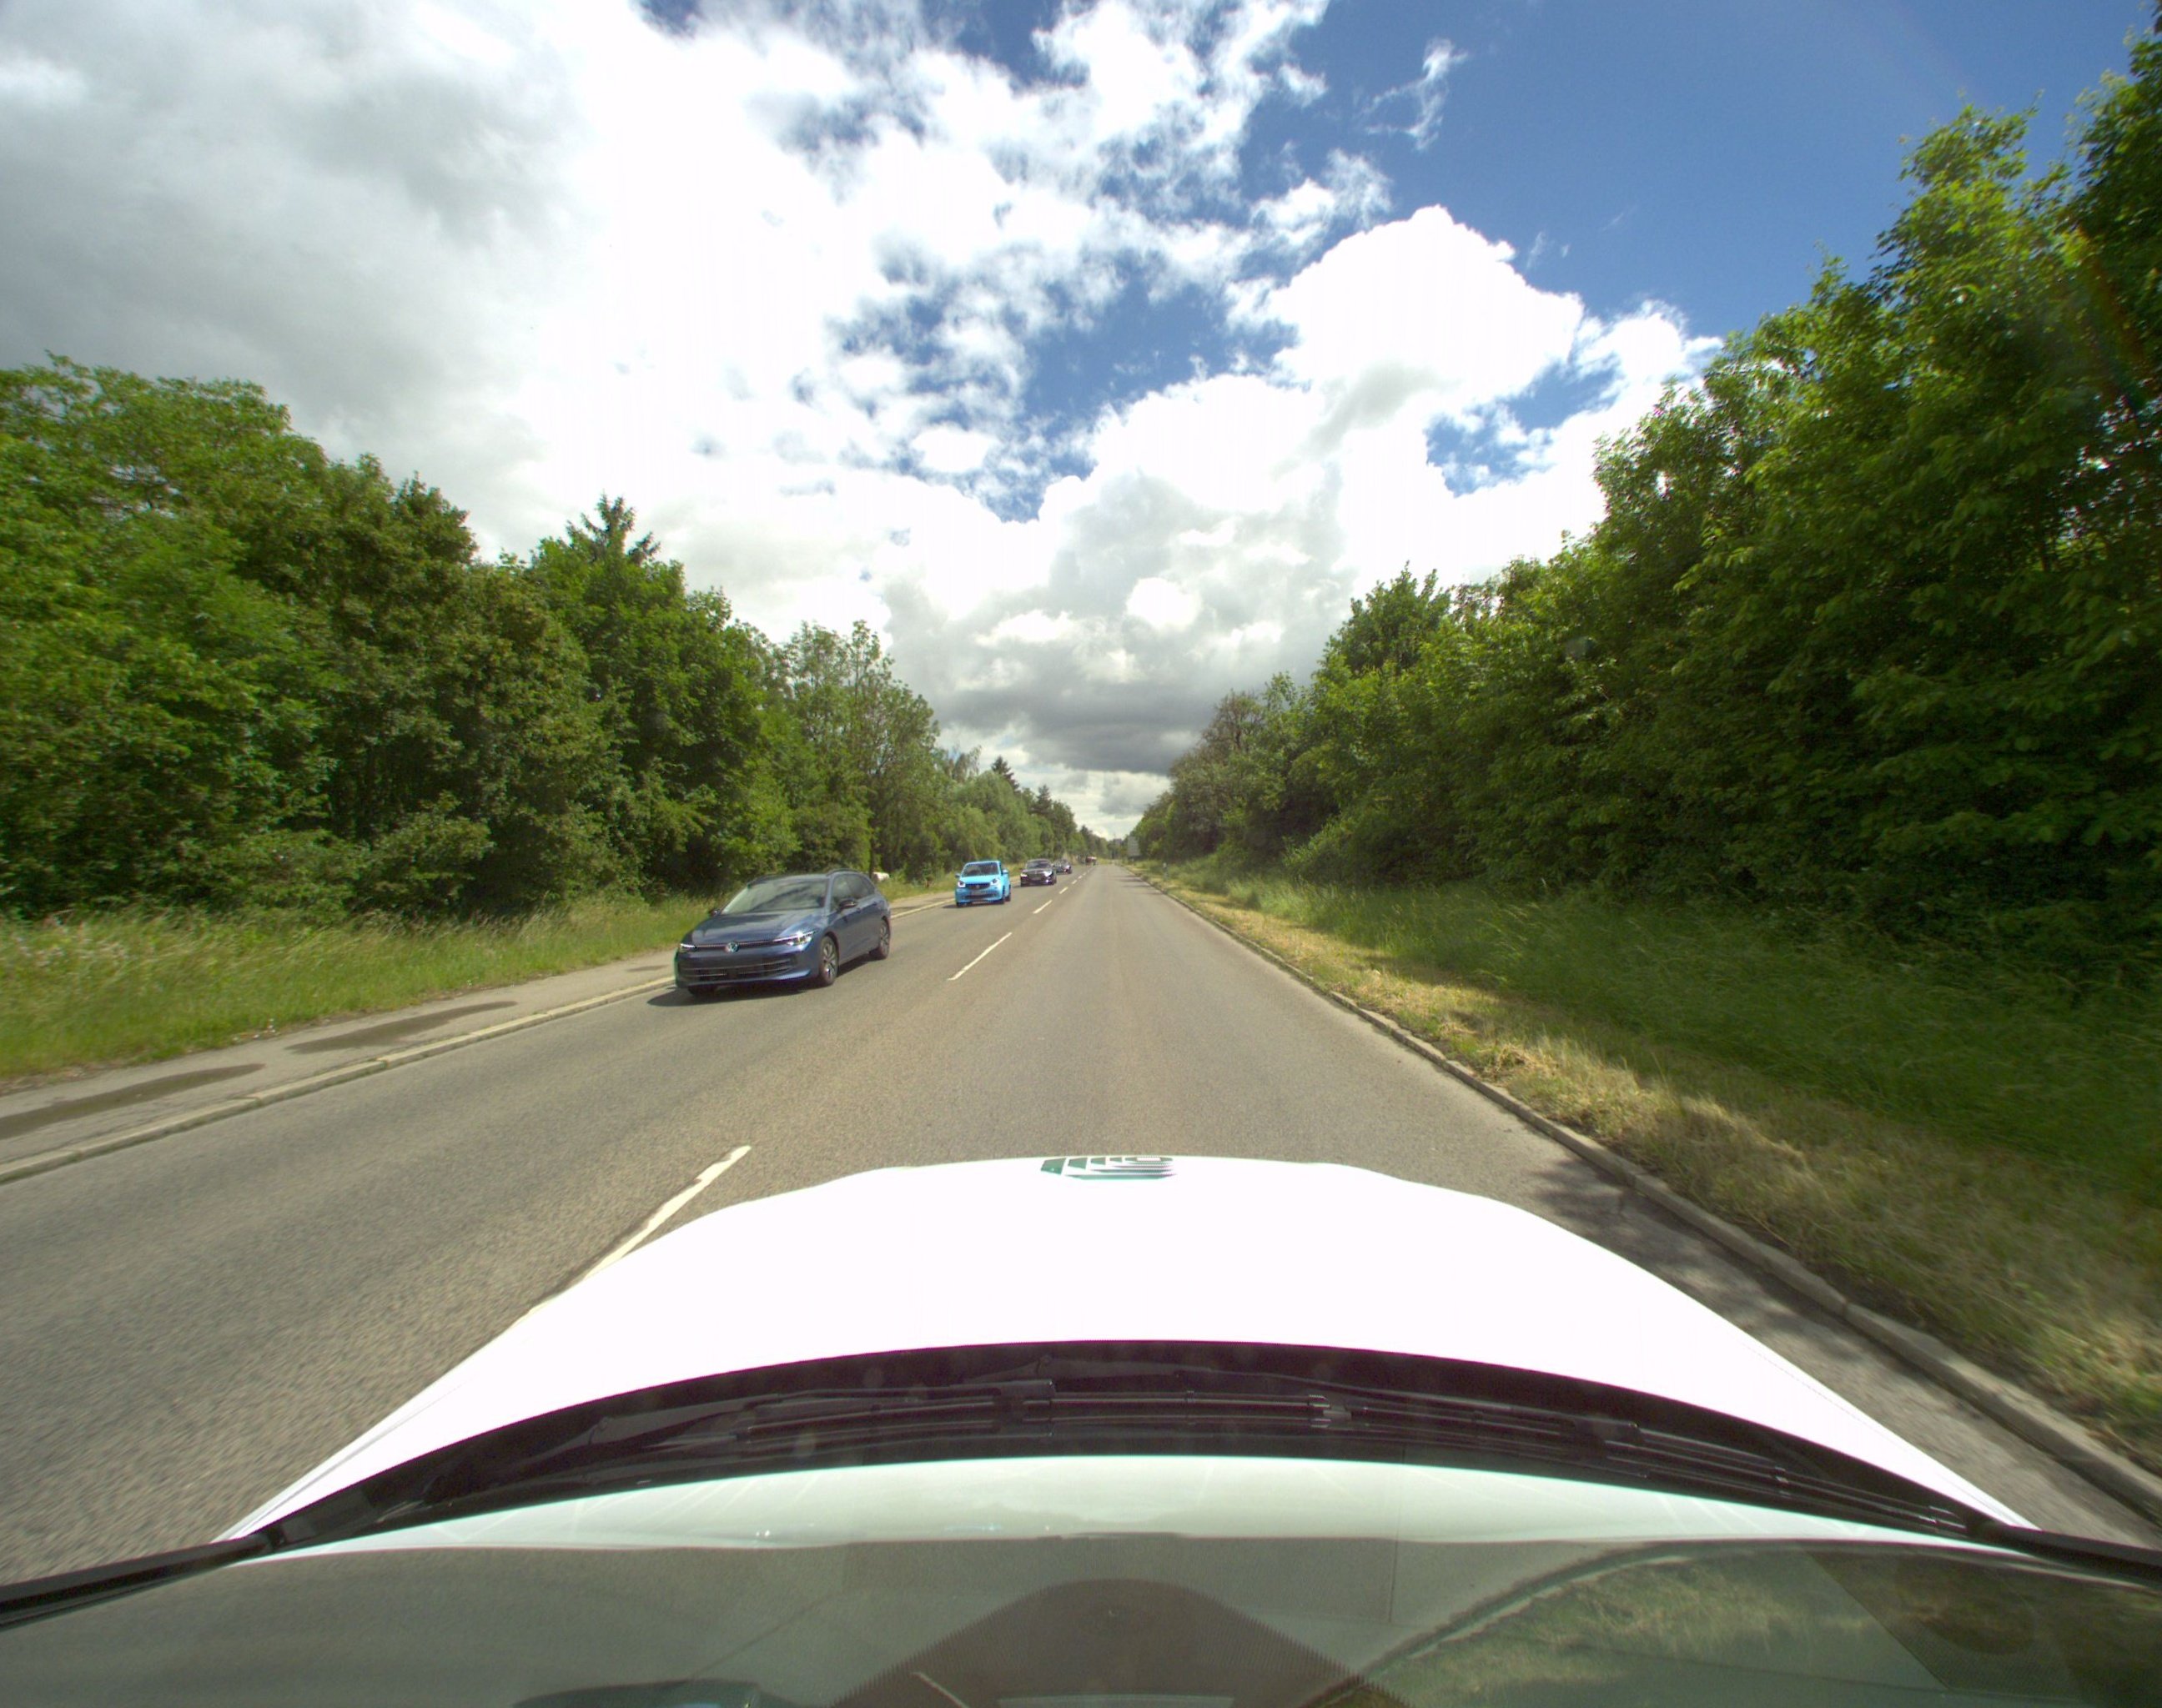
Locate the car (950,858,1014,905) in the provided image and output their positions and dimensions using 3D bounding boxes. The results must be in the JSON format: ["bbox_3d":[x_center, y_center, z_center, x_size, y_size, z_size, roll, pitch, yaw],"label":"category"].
[{"bbox_3d":[-3.459,0.948,28.875,1.778,1.446,2.966,-4,0,0],"label":"car"}]

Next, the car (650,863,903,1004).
[{"bbox_3d":[-3.985,0.936,11.582,1.778,1.446,4.453,-4,0,1],"label":"car"}]

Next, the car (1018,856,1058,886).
[{"bbox_3d":[-2.413,0.959,47.027,1.878,1.491,4.718,-4,0,1],"label":"car"}]

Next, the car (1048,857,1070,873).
[{"bbox_3d":[-2.022,0.996,76.539,1.778,1.334,4.623,-4,0,1],"label":"car"}]

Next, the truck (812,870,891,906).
[{"bbox_3d":[-19.732,2.925,70.140,6.164,2.609,2.006,-4,-1,10],"label":"truck"}]
